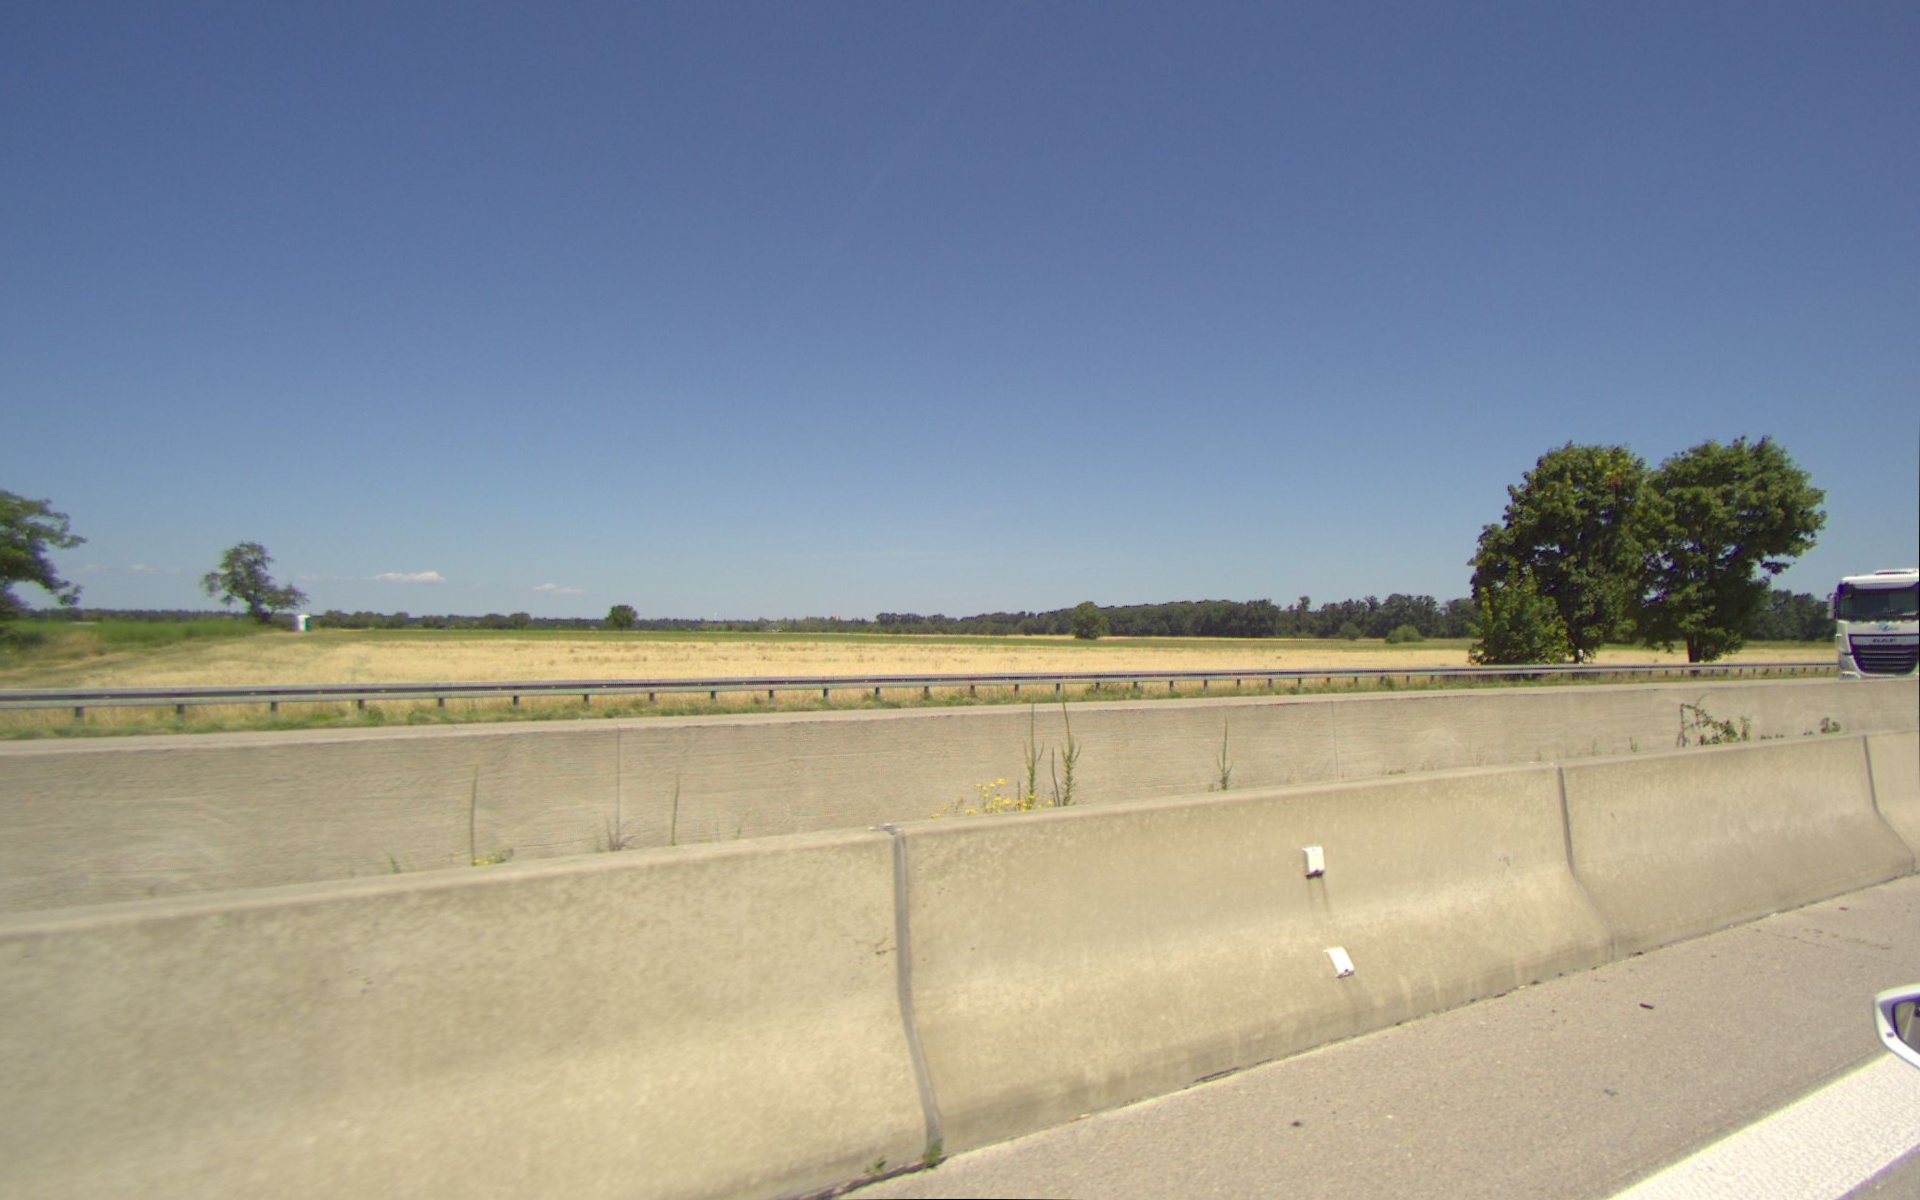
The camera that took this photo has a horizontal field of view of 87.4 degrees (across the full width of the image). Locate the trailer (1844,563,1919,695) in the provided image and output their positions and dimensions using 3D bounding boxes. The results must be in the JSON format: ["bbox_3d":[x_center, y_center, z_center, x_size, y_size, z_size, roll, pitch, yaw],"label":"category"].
[{"bbox_3d":[32.548,0.970,32.906,8.379,4.023,2.886,1,0,-31],"label":"trailer"}]

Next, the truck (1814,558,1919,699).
[{"bbox_3d":[29.147,0.866,30.872,4.986,4.023,2.886,1,0,-30],"label":"truck"}]
